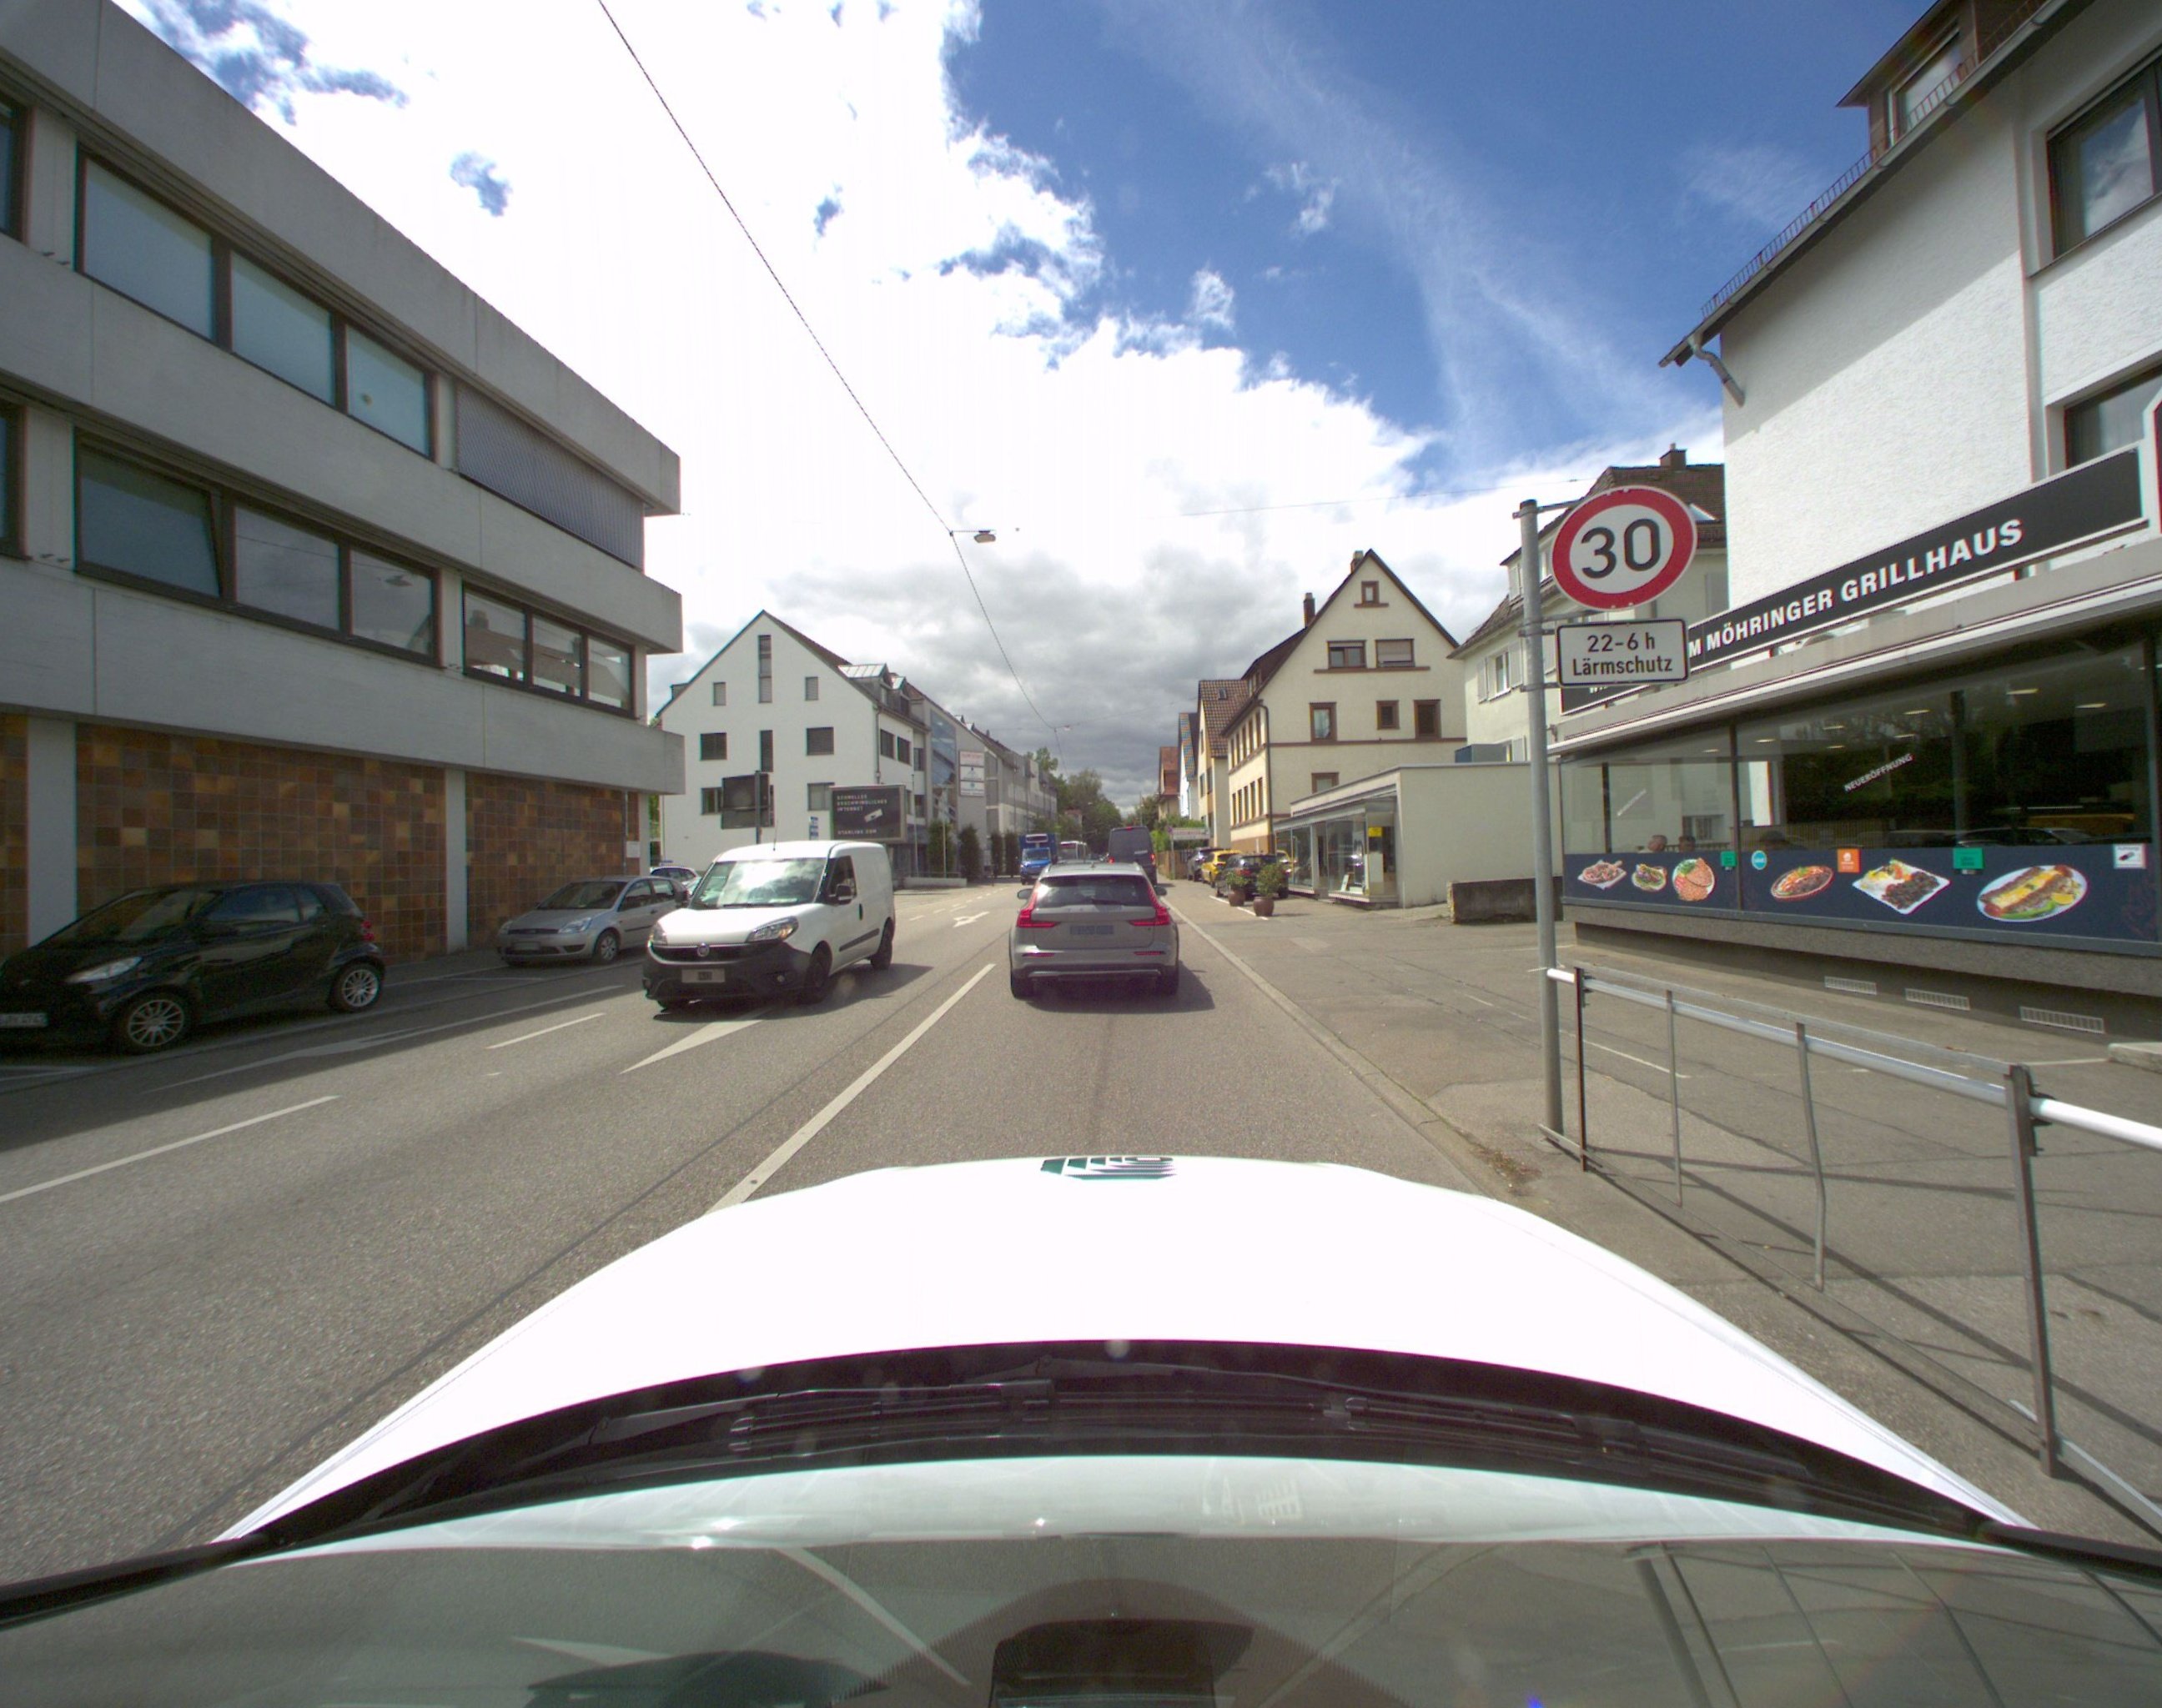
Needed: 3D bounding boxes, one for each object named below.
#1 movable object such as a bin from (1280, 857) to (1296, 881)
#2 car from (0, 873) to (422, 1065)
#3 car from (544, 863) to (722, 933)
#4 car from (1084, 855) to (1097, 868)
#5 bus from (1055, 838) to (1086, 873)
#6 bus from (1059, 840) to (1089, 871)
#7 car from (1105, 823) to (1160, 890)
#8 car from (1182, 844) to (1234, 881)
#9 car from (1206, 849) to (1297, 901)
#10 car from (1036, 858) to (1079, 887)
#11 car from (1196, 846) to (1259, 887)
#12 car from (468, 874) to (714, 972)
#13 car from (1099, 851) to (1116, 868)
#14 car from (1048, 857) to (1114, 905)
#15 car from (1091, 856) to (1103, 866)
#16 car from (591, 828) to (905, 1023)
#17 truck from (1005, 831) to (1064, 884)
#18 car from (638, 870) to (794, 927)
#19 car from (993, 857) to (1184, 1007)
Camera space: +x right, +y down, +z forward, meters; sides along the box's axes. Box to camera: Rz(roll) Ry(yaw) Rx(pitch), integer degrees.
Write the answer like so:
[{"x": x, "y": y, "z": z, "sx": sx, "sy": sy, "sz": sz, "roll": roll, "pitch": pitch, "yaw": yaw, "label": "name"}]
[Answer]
[{"x": 8.269, "y": 0.583, "z": 32.604, "sx": 0.498, "sy": 0.925, "sz": 0.599, "roll": -2, "pitch": 0, "yaw": 6, "label": "movable object such as a bin"}, {"x": -9.070, "y": 1.028, "z": 8.503, "sx": 1.728, "sy": 1.556, "sz": 3.061, "roll": -1, "pitch": 0, "yaw": 5, "label": "car"}, {"x": -13.092, "y": 1.210, "z": 24.270, "sx": 1.940, "sy": 1.619, "sz": 4.941, "roll": -5, "pitch": 0, "yaw": 9, "label": "car"}, {"x": 1.554, "y": 1.216, "z": 131.712, "sx": 2.097, "sy": 2.121, "sz": 4.767, "roll": -1, "pitch": 0, "yaw": 2, "label": "car"}, {"x": -0.955, "y": 0.152, "z": 80.512, "sx": 2.673, "sy": 3.163, "sz": 10.185, "roll": -2, "pitch": 0, "yaw": 1, "label": "bus"}, {"x": -0.655, "y": 0.168, "z": 89.649, "sx": 2.705, "sy": 3.163, "sz": 8.074, "roll": -2, "pitch": 0, "yaw": 3, "label": "bus"}, {"x": 2.351, "y": 0.113, "z": 37.896, "sx": 2.243, "sy": 2.795, "sz": 5.573, "roll": -2, "pitch": 0, "yaw": 3, "label": "car"}, {"x": 6.111, "y": 0.388, "z": 39.542, "sx": 1.854, "sy": 1.612, "sz": 4.587, "roll": -3, "pitch": 0, "yaw": 2, "label": "car"}, {"x": 5.380, "y": 0.610, "z": 26.251, "sx": 1.962, "sy": 1.447, "sz": 4.535, "roll": -2, "pitch": 0, "yaw": 0, "label": "car"}, {"x": -1.188, "y": 0.938, "z": 43.426, "sx": 1.888, "sy": 1.446, "sz": 3.973, "roll": -1, "pitch": 0, "yaw": 4, "label": "car"}, {"x": 6.179, "y": 0.479, "z": 34.747, "sx": 1.871, "sy": 1.447, "sz": 4.307, "roll": -2, "pitch": 2, "yaw": 0, "label": "car"}, {"x": -8.625, "y": 1.139, "z": 14.837, "sx": 1.714, "sy": 1.422, "sz": 4.153, "roll": -1, "pitch": 0, "yaw": 5, "label": "car"}, {"x": 3.306, "y": 0.713, "z": 101.593, "sx": 1.985, "sy": 2.013, "sz": 4.004, "roll": -1, "pitch": 0, "yaw": 4, "label": "car"}, {"x": 0.082, "y": 0.865, "z": 27.563, "sx": 1.887, "sy": 1.446, "sz": 3.974, "roll": -1, "pitch": 0, "yaw": 5, "label": "car"}, {"x": 2.829, "y": 1.261, "z": 142.611, "sx": 2.097, "sy": 1.709, "sz": 4.767, "roll": -2, "pitch": 0, "yaw": 2, "label": "car"}, {"x": -3.711, "y": 0.701, "z": 10.077, "sx": 1.938, "sy": 1.821, "sz": 4.280, "roll": -2, "pitch": 0, "yaw": 2, "label": "car"}, {"x": -2.875, "y": 0.216, "z": 52.878, "sx": 2.842, "sy": 3.093, "sz": 8.094, "roll": -2, "pitch": 0, "yaw": 3, "label": "truck"}, {"x": -10.493, "y": 1.230, "z": 23.892, "sx": 1.941, "sy": 1.358, "sz": 4.864, "roll": -2, "pitch": 0, "yaw": 6, "label": "car"}, {"x": 0.207, "y": 0.787, "z": 10.113, "sx": 1.888, "sy": 1.453, "sz": 3.973, "roll": -1, "pitch": 0, "yaw": 4, "label": "car"}]
